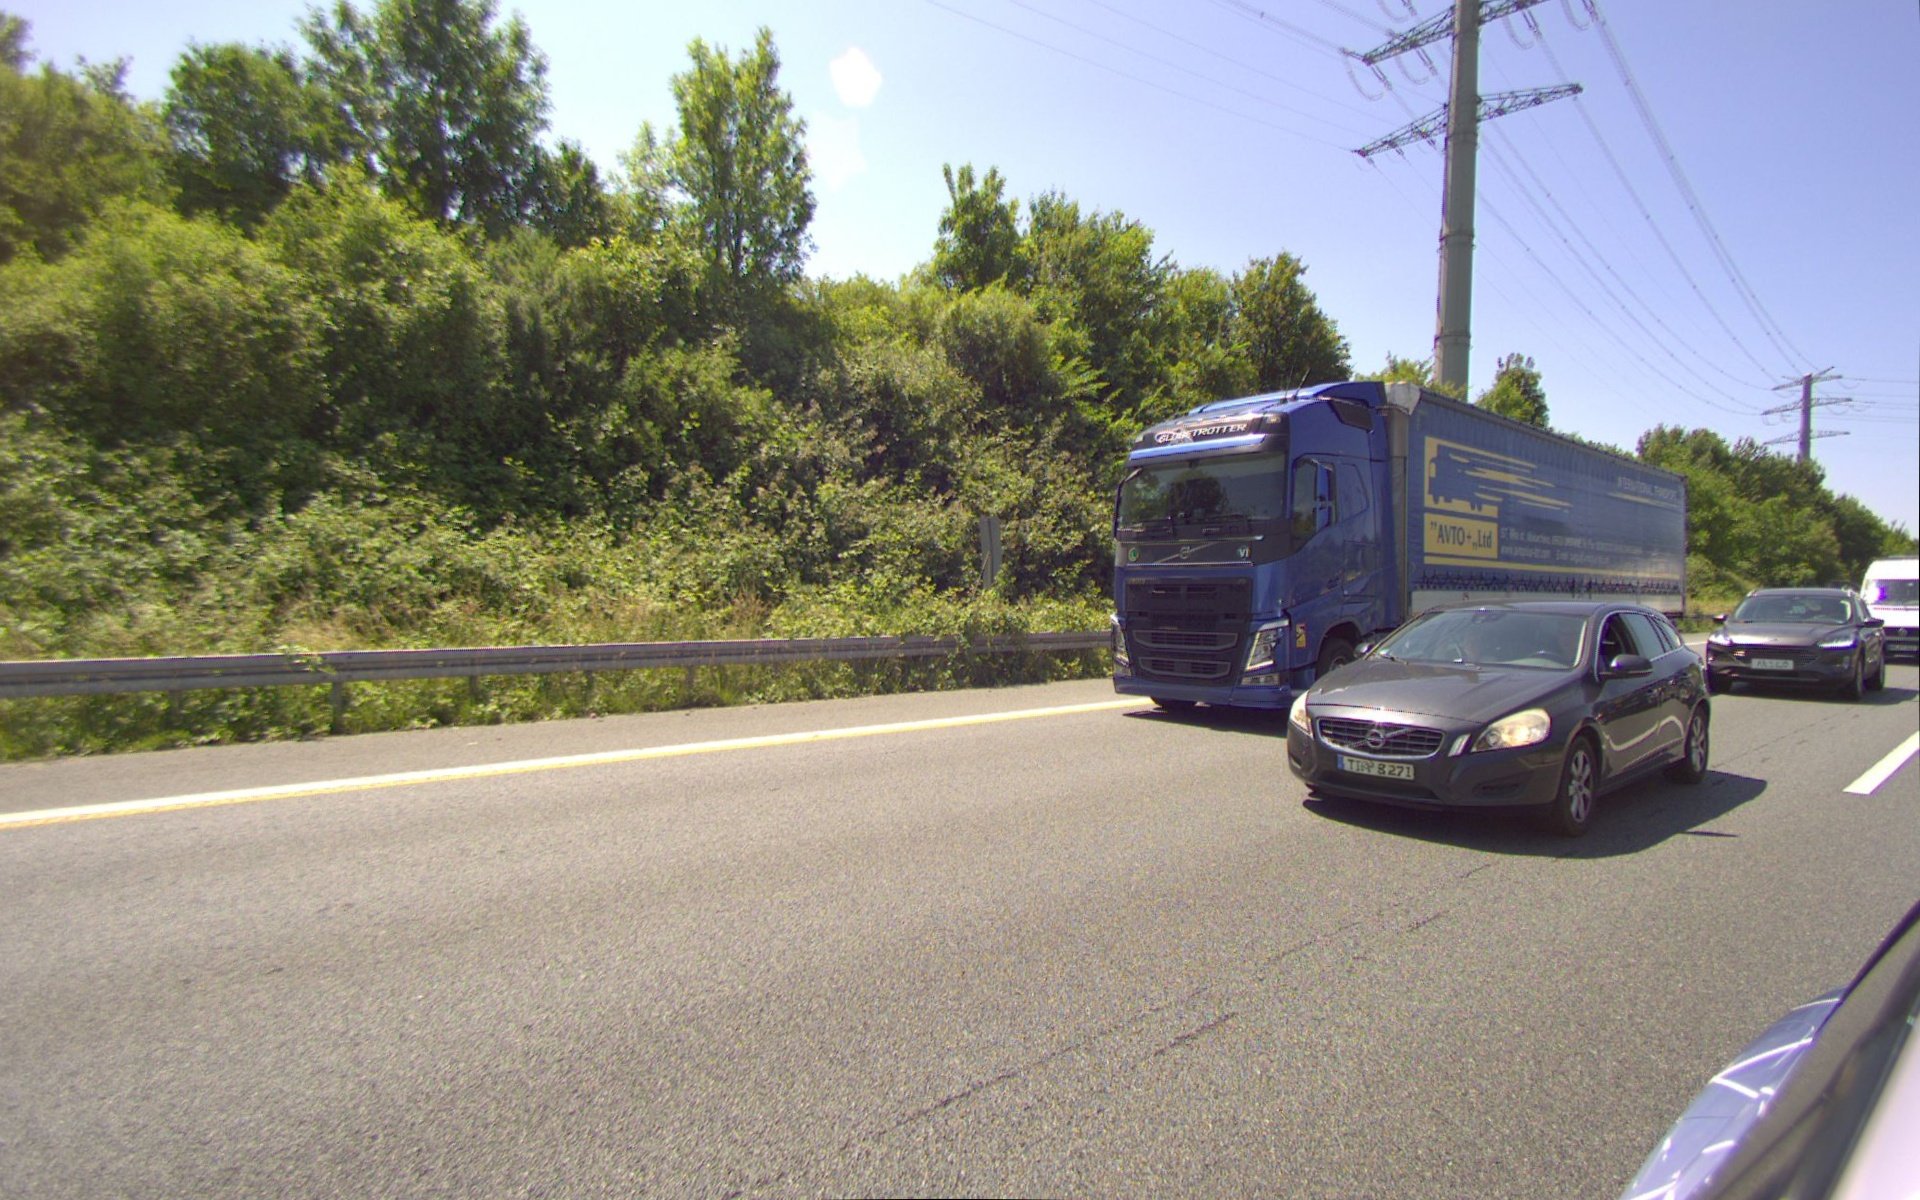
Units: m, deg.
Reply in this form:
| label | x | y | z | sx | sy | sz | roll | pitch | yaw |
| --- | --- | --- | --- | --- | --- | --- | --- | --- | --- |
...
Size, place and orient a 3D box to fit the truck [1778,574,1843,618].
| label | x | y | z | sx | sy | sz | roll | pitch | yaw |
| --- | --- | --- | --- | --- | --- | --- | --- | --- | --- |
| truck | 45.476 | -0.225 | 54.059 | 2.248 | 2.195 | 5.637 | 0 | 0 | 45 |

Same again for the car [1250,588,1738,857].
| label | x | y | z | sx | sy | sz | roll | pitch | yaw |
| --- | --- | --- | --- | --- | --- | --- | --- | --- | --- |
| car | 4.195 | 0.641 | 7.593 | 4.432 | 1.437 | 1.798 | -1 | 0 | -41 |

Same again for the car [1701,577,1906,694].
| label | x | y | z | sx | sy | sz | roll | pitch | yaw |
| --- | --- | --- | --- | --- | --- | --- | --- | --- | --- |
| car | 13.513 | 0.474 | 16.135 | 4.147 | 1.631 | 1.891 | -1 | 0 | -41 |

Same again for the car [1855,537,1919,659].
| label | x | y | z | sx | sy | sz | roll | pitch | yaw |
| --- | --- | --- | --- | --- | --- | --- | --- | --- | --- |
| car | 24.098 | -0.068 | 25.100 | 6.590 | 2.753 | 2.040 | -1 | 0 | -41 |

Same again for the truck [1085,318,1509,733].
| label | x | y | z | sx | sy | sz | roll | pitch | yaw |
| --- | --- | --- | --- | --- | --- | --- | --- | --- | --- |
| truck | 4.525 | -0.777 | 13.116 | 5.539 | 4.197 | 2.790 | 0 | 0 | -41 |

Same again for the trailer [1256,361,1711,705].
| label | x | y | z | sx | sy | sz | roll | pitch | yaw |
| --- | --- | --- | --- | --- | --- | --- | --- | --- | --- |
| trailer | 9.979 | -0.897 | 17.934 | 12.655 | 4.317 | 2.771 | -1 | 0 | -42 |
